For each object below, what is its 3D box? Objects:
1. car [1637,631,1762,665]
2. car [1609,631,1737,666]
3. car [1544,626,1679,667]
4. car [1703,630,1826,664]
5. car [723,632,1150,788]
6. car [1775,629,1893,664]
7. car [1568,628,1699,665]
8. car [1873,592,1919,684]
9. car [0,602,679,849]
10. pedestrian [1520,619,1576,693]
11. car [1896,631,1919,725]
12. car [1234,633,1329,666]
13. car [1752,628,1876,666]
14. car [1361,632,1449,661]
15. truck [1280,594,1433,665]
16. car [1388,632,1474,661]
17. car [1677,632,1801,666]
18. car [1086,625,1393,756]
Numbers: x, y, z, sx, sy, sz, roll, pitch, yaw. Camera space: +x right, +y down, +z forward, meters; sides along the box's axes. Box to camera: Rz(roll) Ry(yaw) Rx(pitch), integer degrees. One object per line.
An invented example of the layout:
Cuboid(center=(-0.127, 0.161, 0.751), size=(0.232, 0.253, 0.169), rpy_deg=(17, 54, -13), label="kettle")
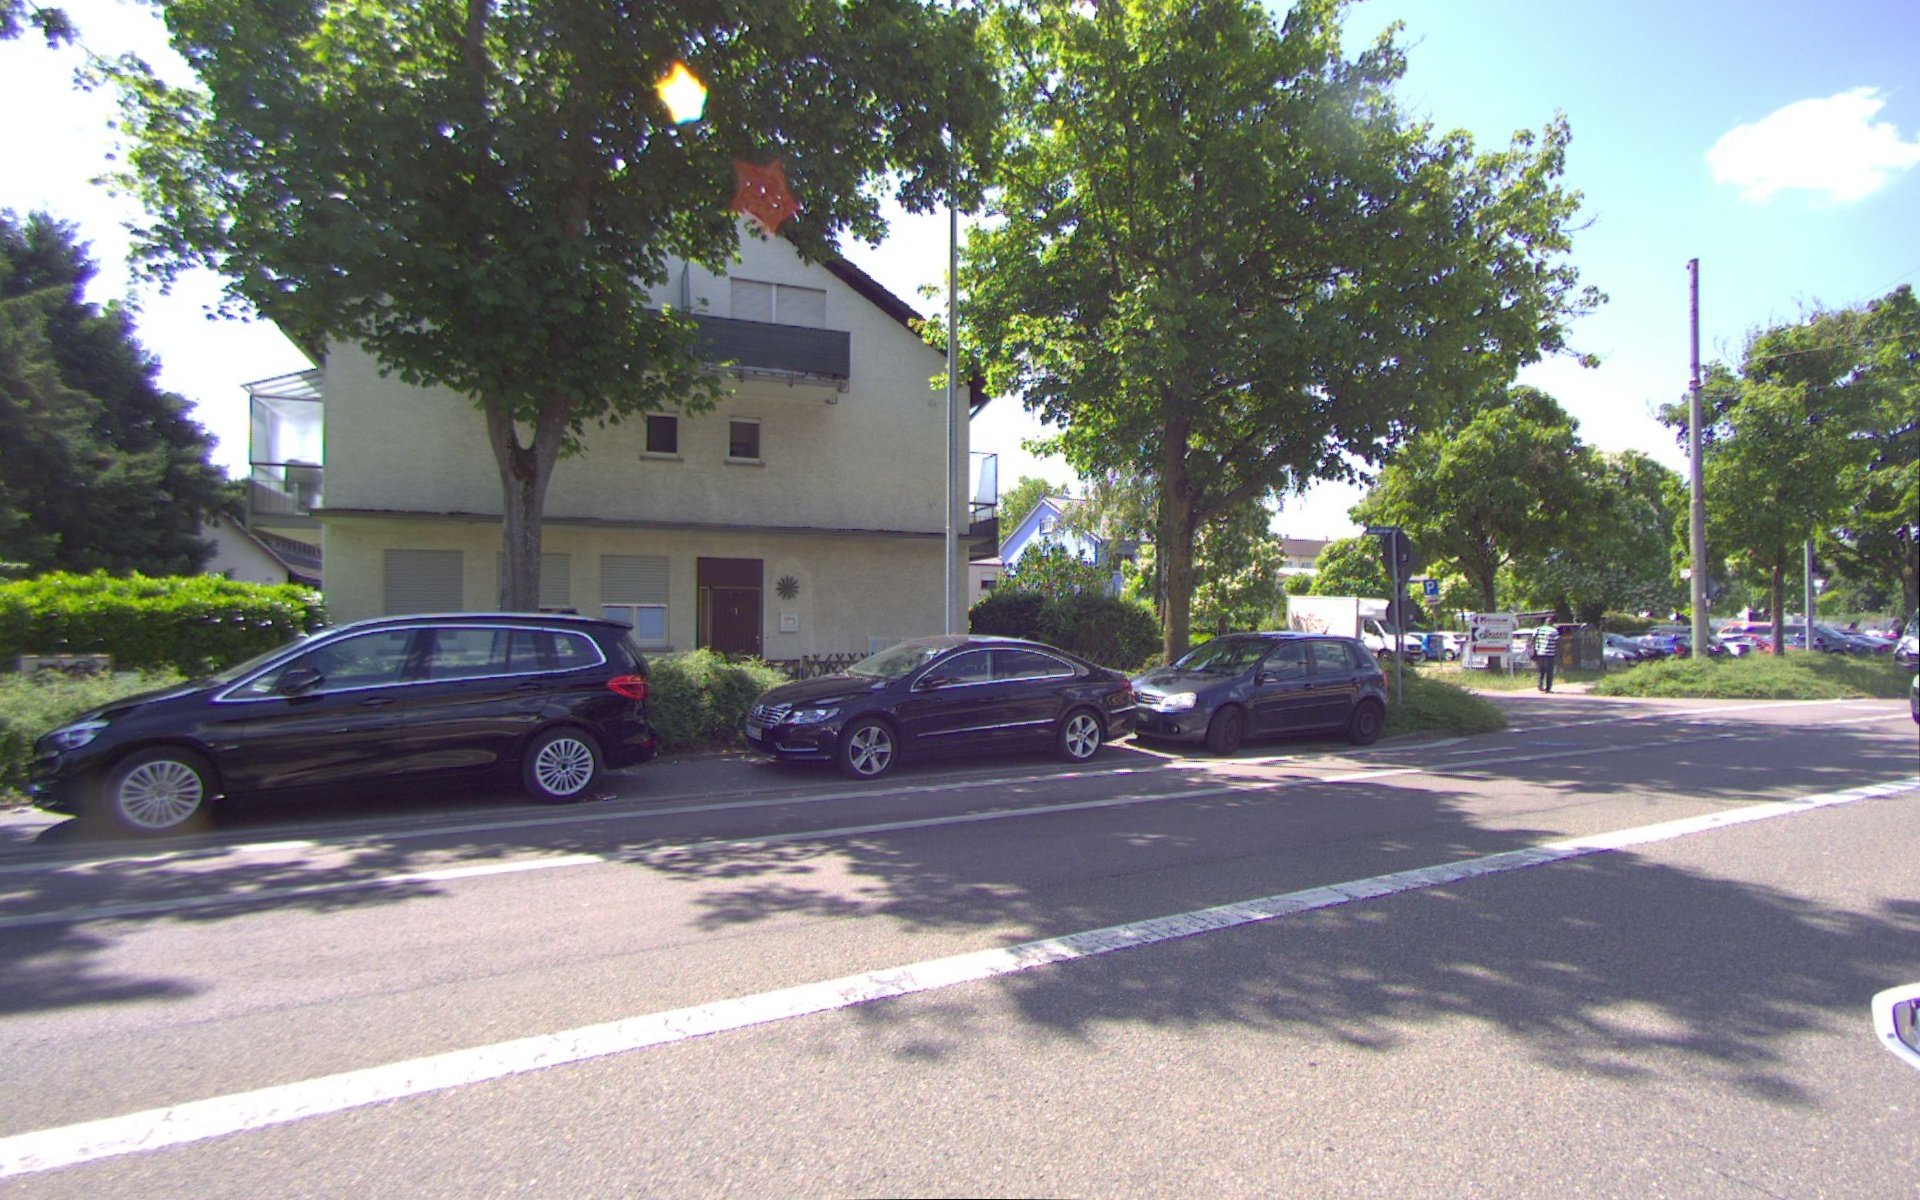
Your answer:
Cuboid(center=(31.701, 2.038, 43.170), size=(1.784, 1.357, 3.968), rpy_deg=(1, -2, -30), label="car")
Cuboid(center=(29.531, 1.985, 41.709), size=(1.784, 1.357, 3.968), rpy_deg=(1, -2, -30), label="car")
Cuboid(center=(24.768, 1.741, 38.322), size=(1.784, 1.461, 3.968), rpy_deg=(1, -2, -30), label="car")
Cuboid(center=(36.127, 2.088, 45.191), size=(1.784, 1.461, 3.969), rpy_deg=(1, -2, -30), label="car")
Cuboid(center=(-0.173, 1.110, 11.513), size=(4.644, 1.391, 1.765), rpy_deg=(1, 1, -32), label="car")
Cuboid(center=(42.390, 2.215, 48.793), size=(1.784, 1.628, 3.968), rpy_deg=(1, -2, -30), label="car")
Cuboid(center=(26.648, 1.812, 39.859), size=(1.784, 1.357, 3.968), rpy_deg=(1, -2, -30), label="car")
Cuboid(center=(29.095, 1.079, 28.946), size=(6.114, 2.520, 2.148), rpy_deg=(1, 0, -28), label="car")
Cuboid(center=(-4.942, 0.868, 8.597), size=(4.585, 1.625, 1.765), rpy_deg=(1, 0, -32), label="car")
Cuboid(center=(15.027, 1.418, 25.677), size=(0.786, 1.847, 0.969), rpy_deg=(1, -1, -32), label="pedestrian")
Cuboid(center=(16.532, 1.178, 15.757), size=(3.960, 1.416, 1.670), rpy_deg=(1, -3, -31), label="car")
Cuboid(center=(14.567, 2.226, 45.662), size=(1.753, 1.417, 3.967), rpy_deg=(1, -2, -31), label="car")
Cuboid(center=(39.026, 2.112, 45.974), size=(1.784, 1.628, 3.968), rpy_deg=(1, -2, -30), label="car")
Cuboid(center=(23.368, 2.417, 52.868), size=(1.784, 1.461, 3.968), rpy_deg=(1, -2, -30), label="car")
Cuboid(center=(19.548, 1.432, 49.998), size=(2.306, 3.270, 7.150), rpy_deg=(1, -2, -31), label="truck")
Cuboid(center=(25.542, 2.491, 54.568), size=(1.784, 1.461, 3.968), rpy_deg=(1, -2, -30), label="car")
Cuboid(center=(34.099, 2.113, 44.064), size=(1.784, 1.357, 3.968), rpy_deg=(1, -2, -30), label="car")
Cuboid(center=(3.859, 1.128, 13.732), size=(4.000, 1.500, 1.766), rpy_deg=(1, 0, -30), label="car")
